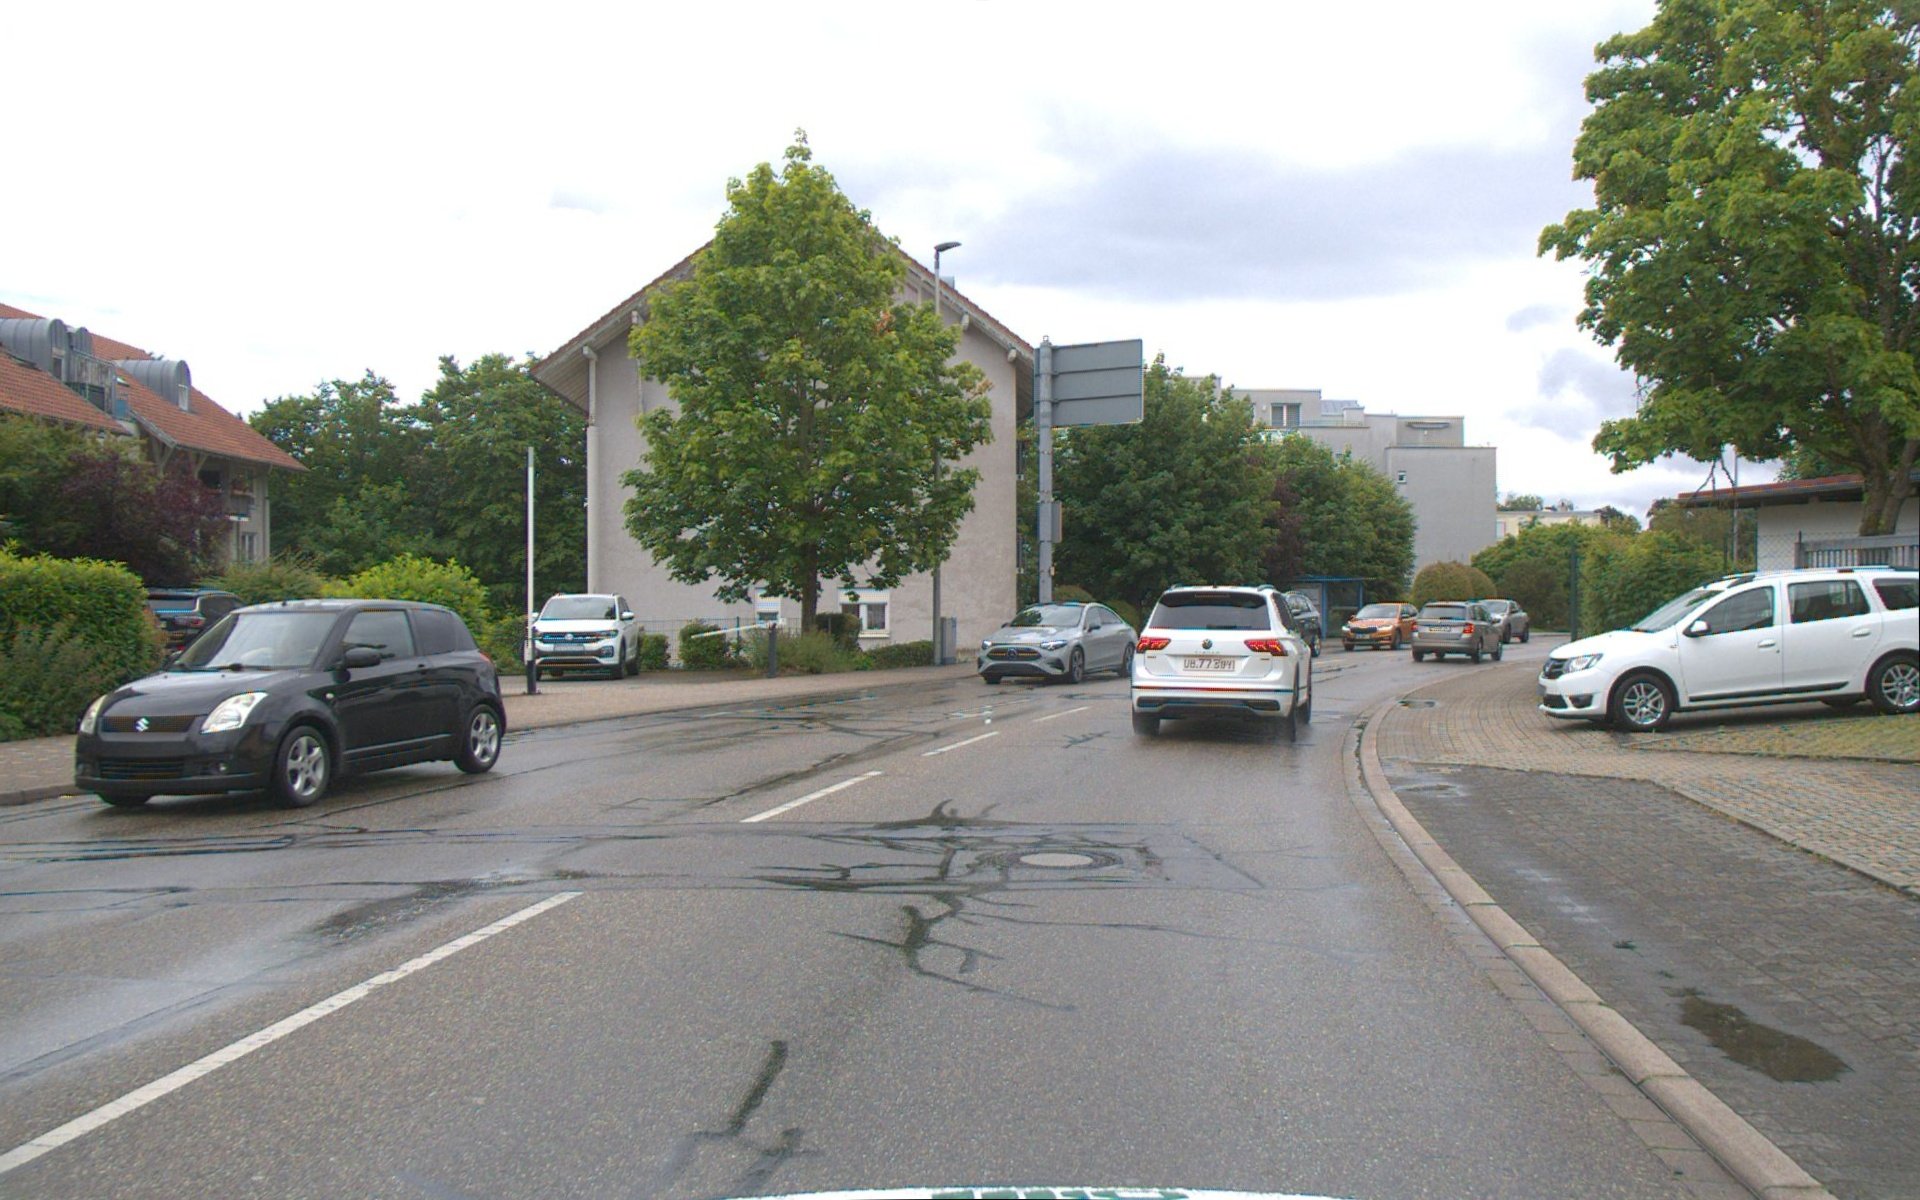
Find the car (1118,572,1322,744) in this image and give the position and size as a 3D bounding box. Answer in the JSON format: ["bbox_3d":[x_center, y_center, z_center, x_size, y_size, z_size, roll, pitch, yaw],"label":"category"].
[{"bbox_3d":[3.142,0.585,19.272,1.880,1.752,4.268,0,0,15],"label":"car"}]

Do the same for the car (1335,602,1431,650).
[{"bbox_3d":[13.443,0.790,52.412,1.866,1.465,4.106,0,0,31],"label":"car"}]

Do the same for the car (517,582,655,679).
[{"bbox_3d":[-6.939,0.601,31.051,1.955,1.680,3.995,1,-2,-5],"label":"car"}]

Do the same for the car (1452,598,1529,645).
[{"bbox_3d":[19.629,0.780,61.110,1.866,1.686,4.106,0,0,31],"label":"car"}]

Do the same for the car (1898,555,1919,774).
[{"bbox_3d":[9.043,0.332,11.426,3.963,1.624,1.904,-4,0,-1],"label":"car"}]

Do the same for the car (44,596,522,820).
[{"bbox_3d":[-5.104,0.735,13.032,1.554,1.447,3.698,-1,0,14],"label":"car"}]

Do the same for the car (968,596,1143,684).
[{"bbox_3d":[1.874,0.683,30.929,1.863,1.415,4.488,1,1,23],"label":"car"}]

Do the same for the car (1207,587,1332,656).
[{"bbox_3d":[8.108,0.521,43.085,1.866,1.686,4.258,0,1,31],"label":"car"}]

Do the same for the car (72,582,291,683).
[{"bbox_3d":[-13.917,0.613,29.847,1.952,1.680,4.000,1,-2,1],"label":"car"}]

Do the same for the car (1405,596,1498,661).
[{"bbox_3d":[12.334,0.742,41.339,1.730,1.536,3.997,0,-2,24],"label":"car"}]

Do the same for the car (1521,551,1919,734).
[{"bbox_3d":[8.520,0.423,17.921,4.249,1.624,1.767,-4,0,6],"label":"car"}]
